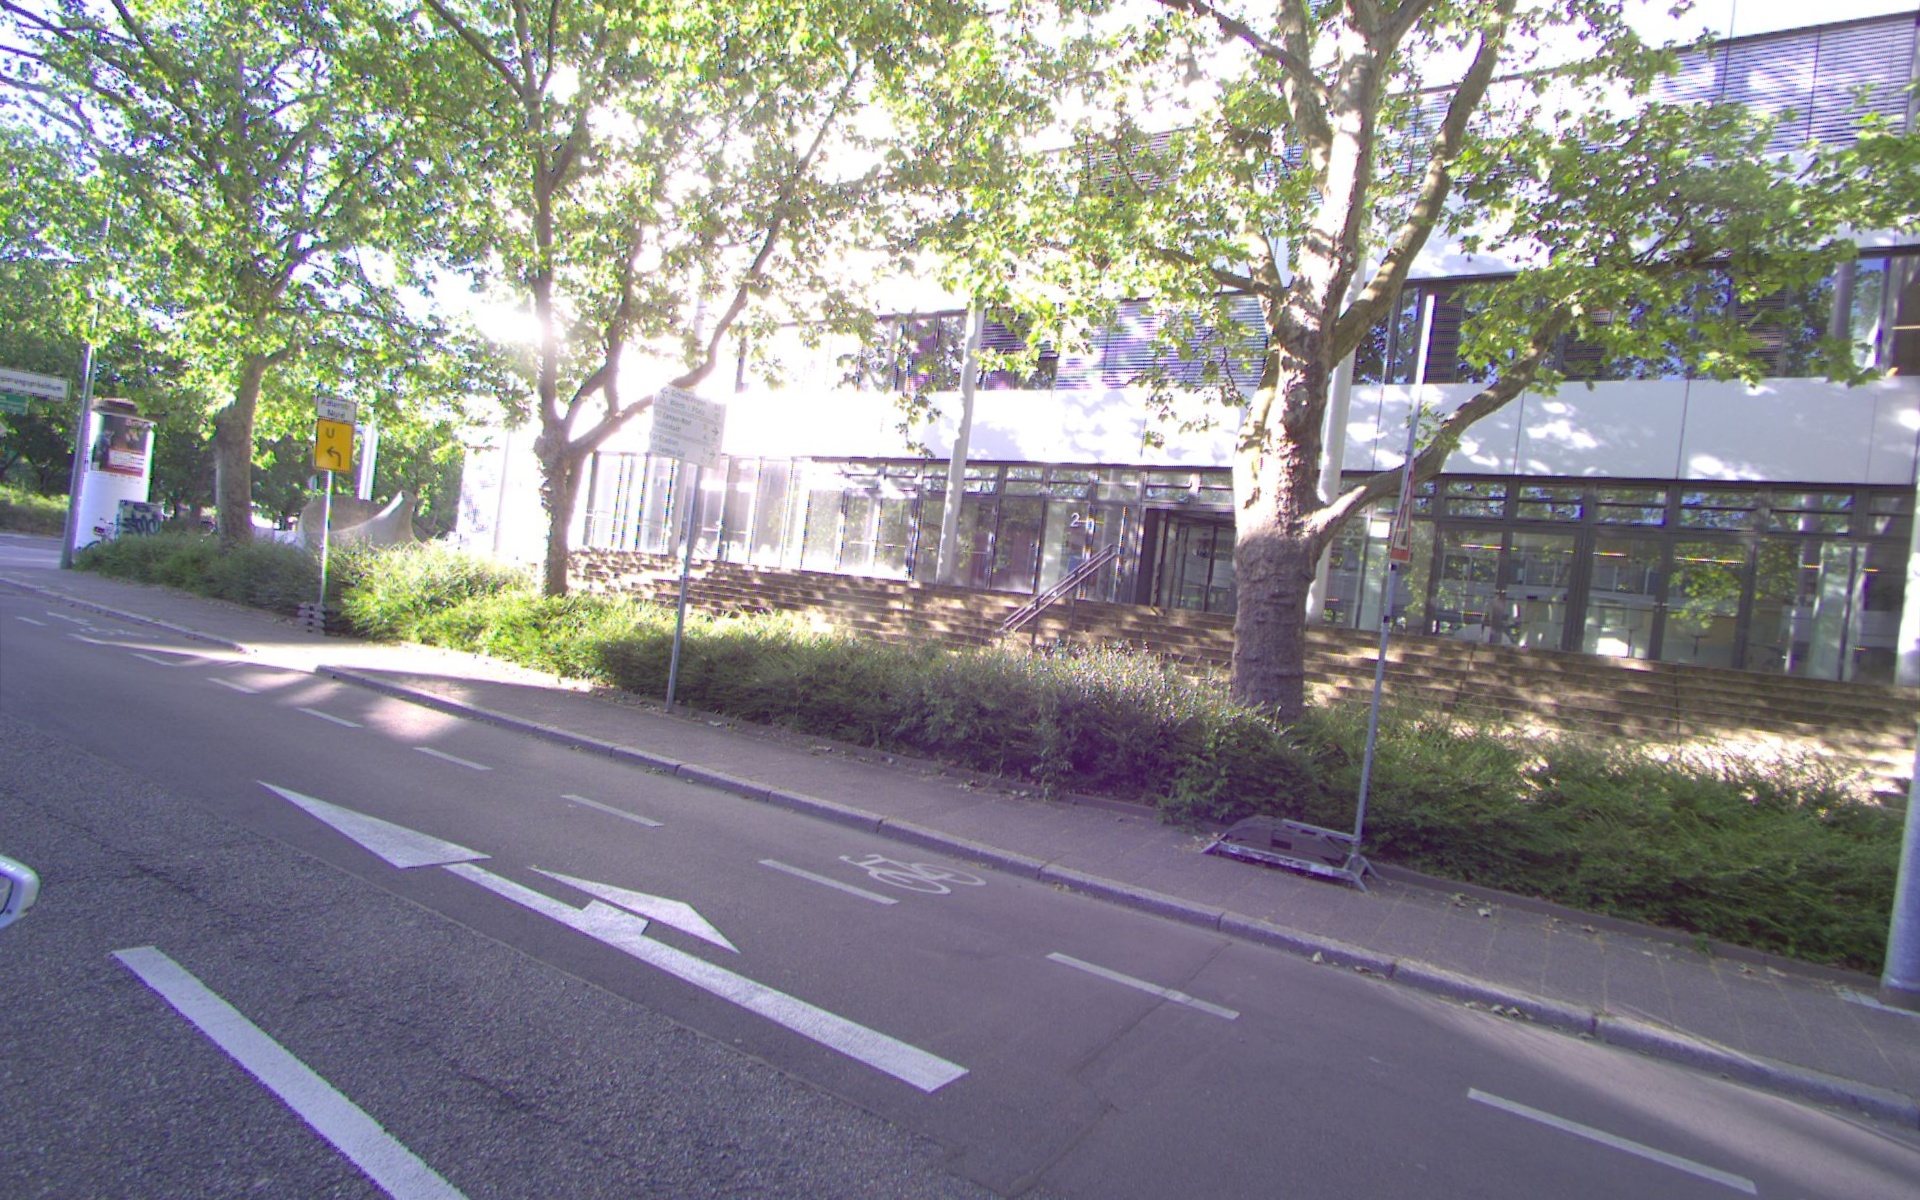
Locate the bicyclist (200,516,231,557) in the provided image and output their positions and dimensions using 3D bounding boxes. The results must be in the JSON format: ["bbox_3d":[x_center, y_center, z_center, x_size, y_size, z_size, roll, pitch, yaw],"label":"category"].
[{"bbox_3d":[-31.170,-2.647,42.125,0.588,1.600,0.730,6,-1,38],"label":"bicyclist"}]

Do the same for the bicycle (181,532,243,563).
[{"bbox_3d":[-31.259,-2.178,42.070,0.592,0.991,1.918,6,-2,37],"label":"bicycle"}]

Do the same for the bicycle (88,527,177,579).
[{"bbox_3d":[-19.034,-1.069,23.165,0.295,0.991,1.484,6,-2,37],"label":"bicycle"}]
